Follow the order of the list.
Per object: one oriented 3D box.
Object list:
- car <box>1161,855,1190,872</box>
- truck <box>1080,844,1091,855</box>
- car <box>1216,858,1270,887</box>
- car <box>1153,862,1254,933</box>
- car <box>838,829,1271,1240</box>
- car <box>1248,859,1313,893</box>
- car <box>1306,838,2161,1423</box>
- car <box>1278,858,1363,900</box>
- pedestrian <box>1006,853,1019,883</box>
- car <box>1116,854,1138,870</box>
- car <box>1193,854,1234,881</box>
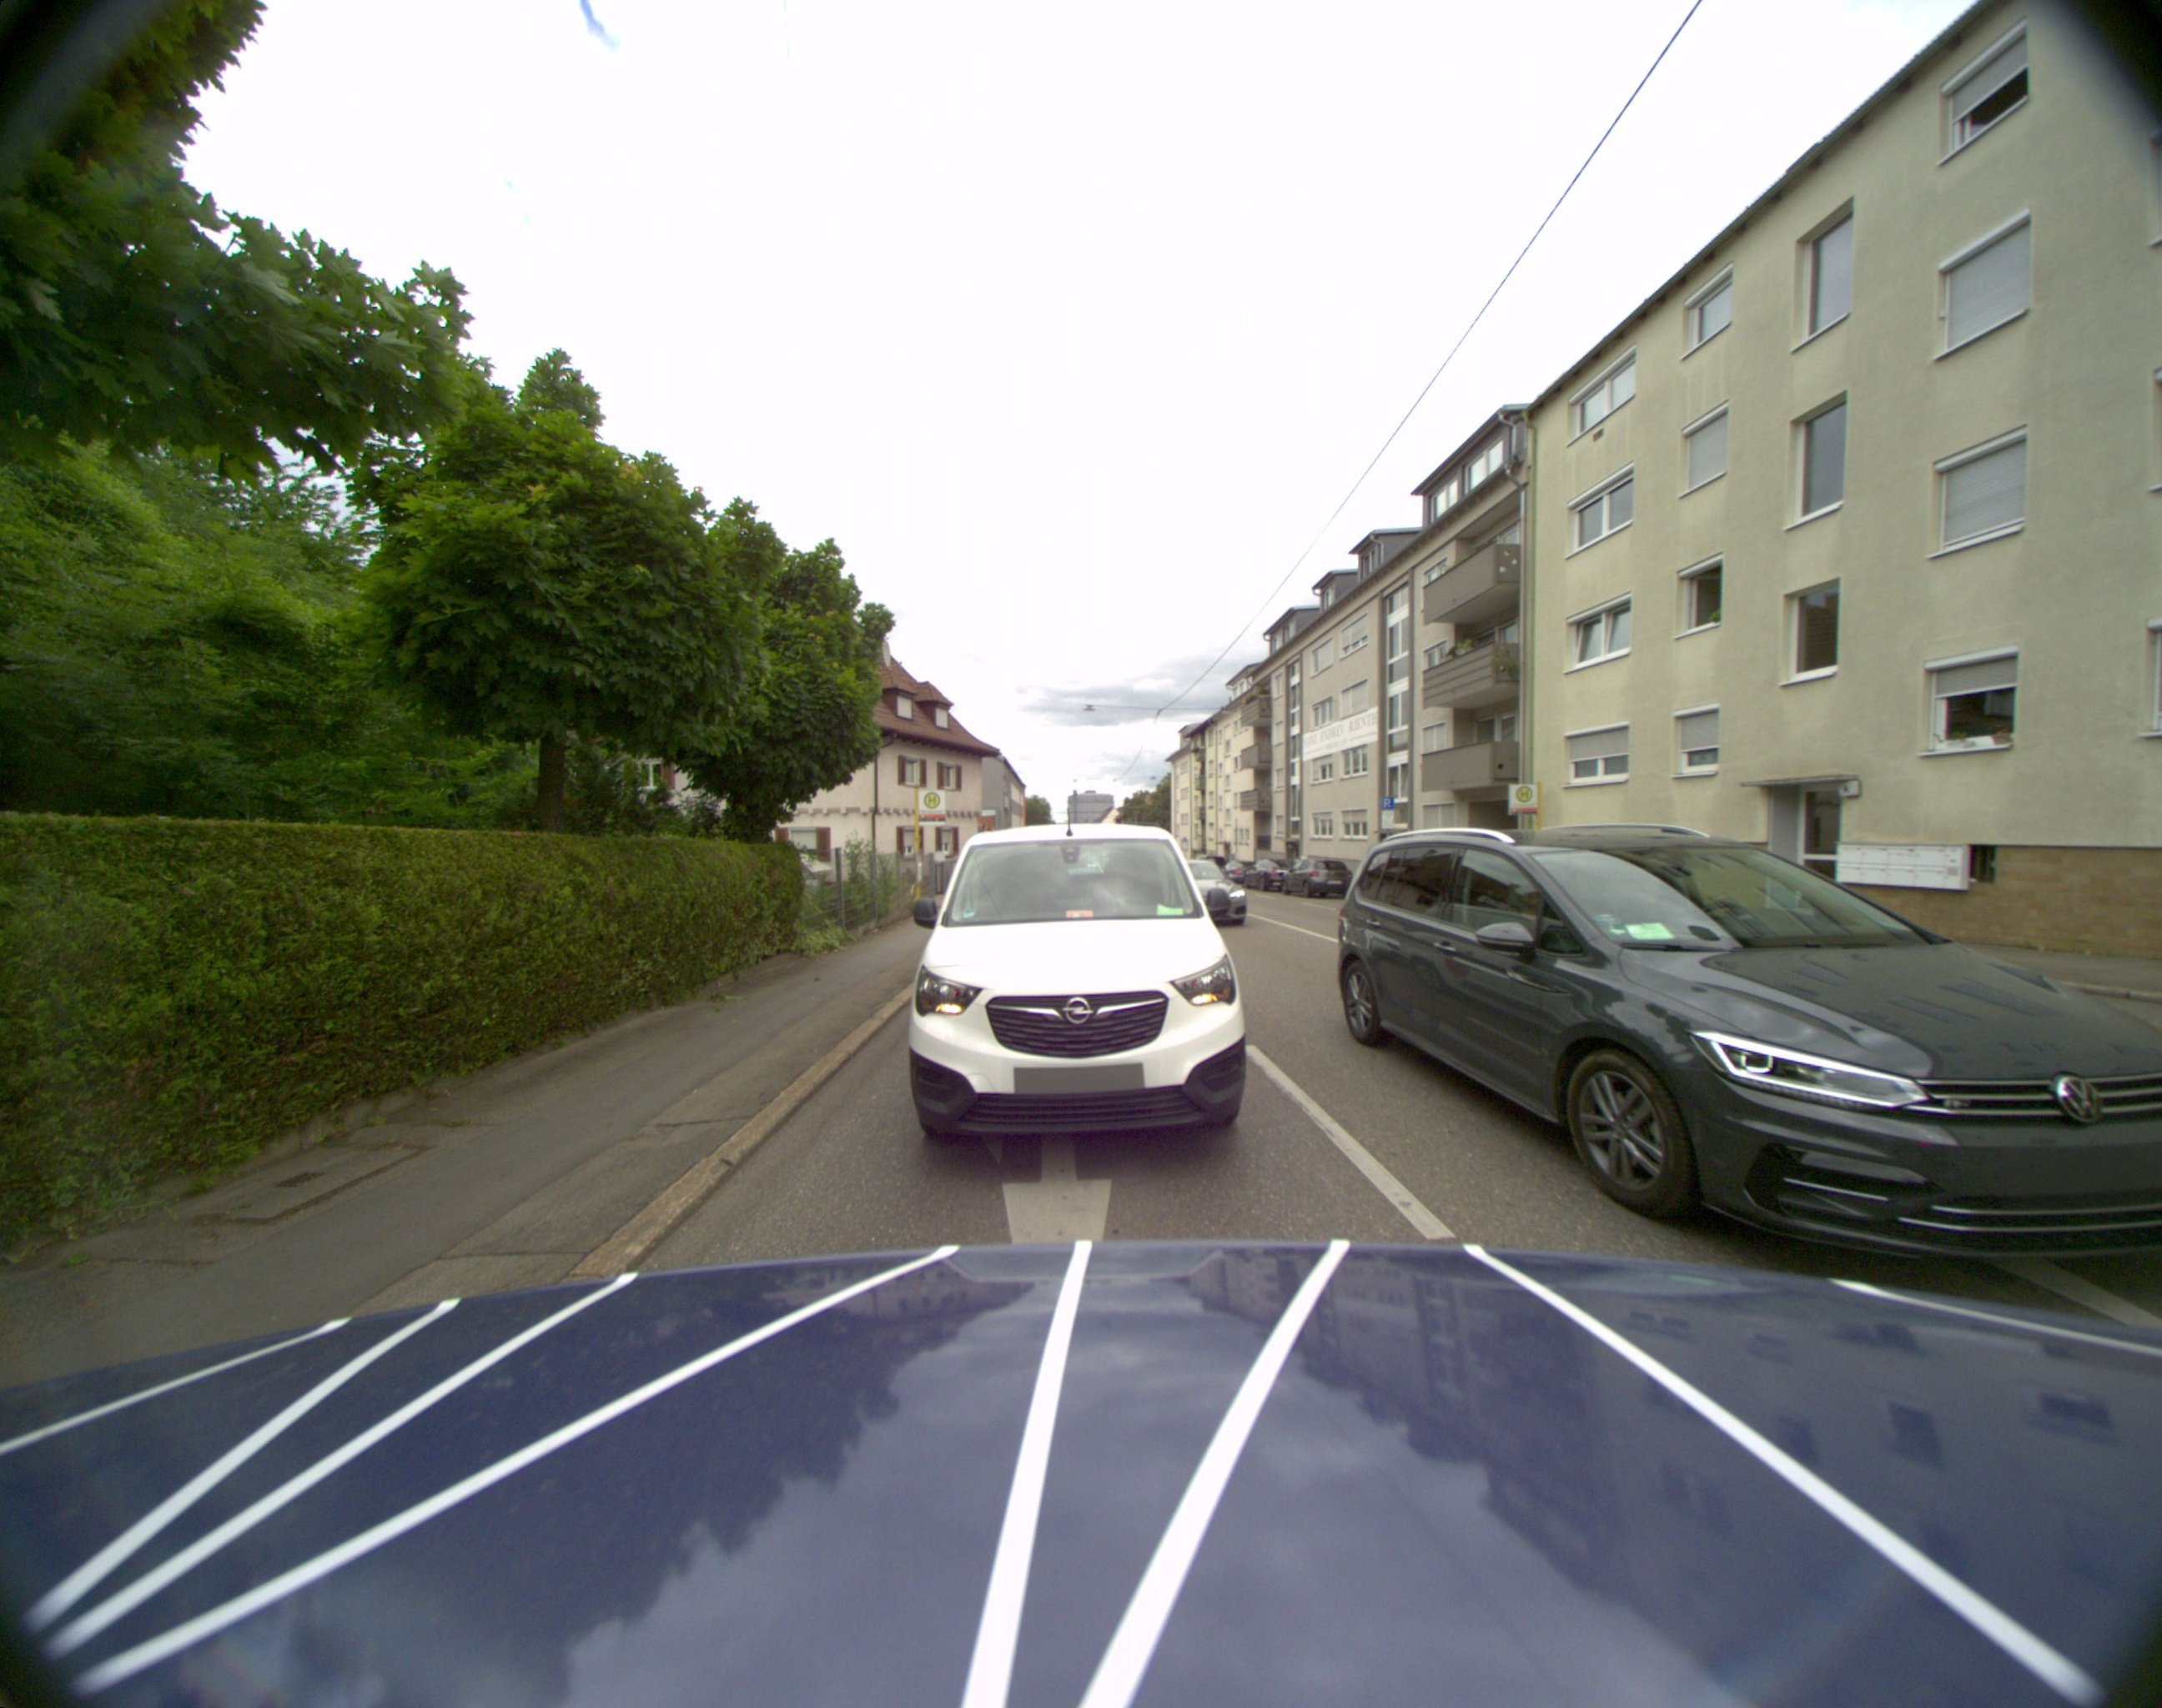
[{"bbox_3d":[8.113,0.785,65.606,1.776,1.395,3.757,0,1,-5],"label":"car"},{"bbox_3d":[1.061,-1.156,181.671,2.547,2.522,5.493,-1,0,-1],"label":"truck"},{"bbox_3d":[8.384,0.911,39.551,1.776,1.395,3.538,0,1,-5],"label":"car"},{"bbox_3d":[2.613,0.880,17.131,1.881,1.347,4.147,0,0,4],"label":"car"},{"bbox_3d":[-0.083,0.784,5.736,1.862,1.772,4.711,-2,1,1],"label":"car"},{"bbox_3d":[8.724,0.917,33.522,1.669,1.368,3.538,0,1,-5],"label":"car"},{"bbox_3d":[2.995,0.760,4.416,1.863,1.601,4.478,-2,1,-2],"label":"car"},{"bbox_3d":[8.896,0.882,28.573,1.776,1.403,3.685,0,1,-5],"label":"car"},{"bbox_3d":[-4.301,0.871,47.613,0.647,1.830,0.593,-1,1,7],"label":"pedestrian"},{"bbox_3d":[4.453,0.729,74.587,1.775,1.513,4.082,0,1,-2],"label":"car"},{"bbox_3d":[8.428,0.836,48.685,1.776,1.591,3.538,0,1,-5],"label":"car"}]
